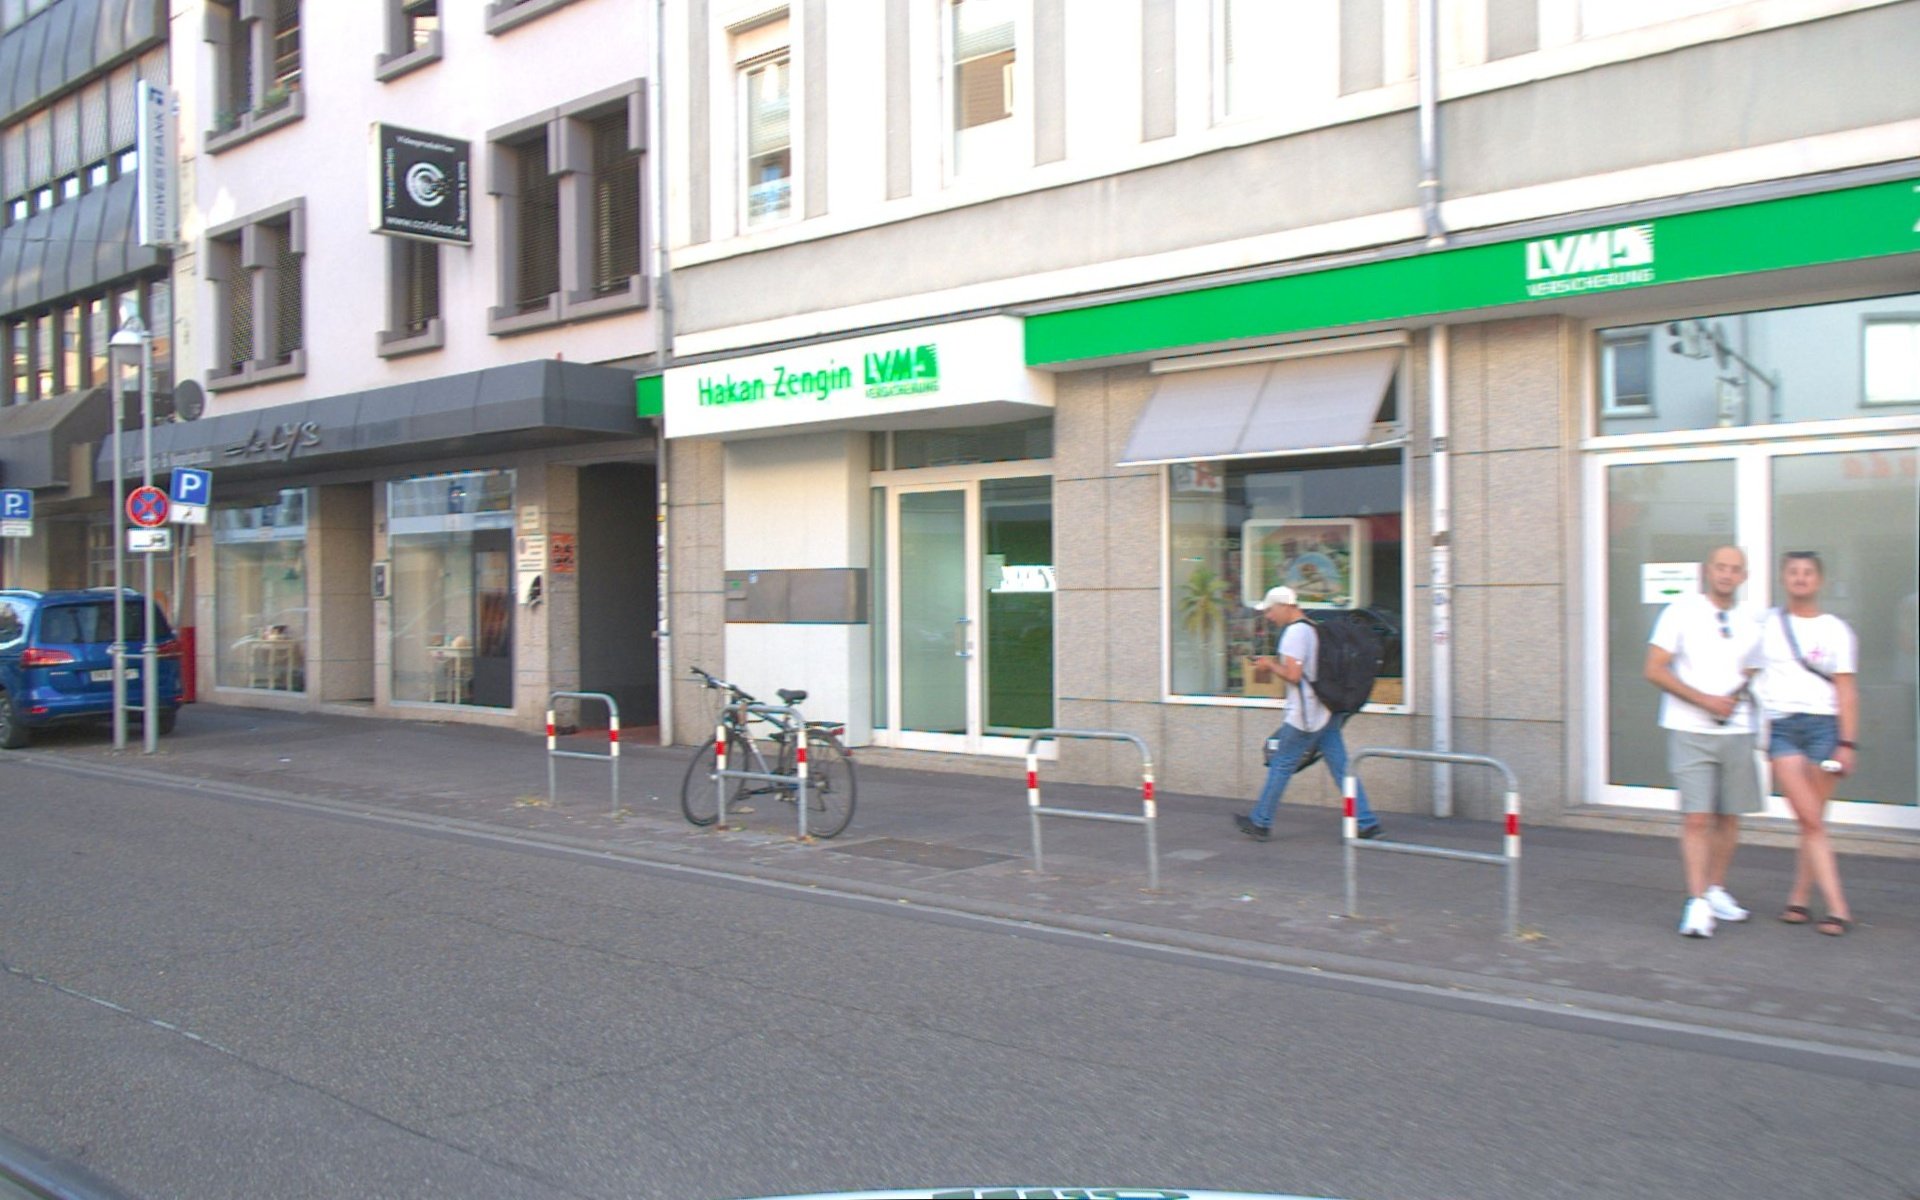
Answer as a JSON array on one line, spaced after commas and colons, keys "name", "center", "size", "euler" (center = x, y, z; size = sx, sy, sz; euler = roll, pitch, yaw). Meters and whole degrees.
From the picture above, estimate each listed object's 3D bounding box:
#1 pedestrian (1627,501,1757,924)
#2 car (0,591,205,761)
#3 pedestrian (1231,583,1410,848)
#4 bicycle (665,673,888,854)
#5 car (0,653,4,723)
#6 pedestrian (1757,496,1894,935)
[{"name": "pedestrian", "center": [3.568, 0.523, 8.047], "size": [0.485, 1.962, 0.574], "euler": [-1, 0, 31]}, {"name": "car", "center": [-11.109, 0.834, 20.060], "size": [4.483, 1.746, 1.910], "euler": [-1, 2, 43]}, {"name": "pedestrian", "center": [2.270, 0.691, 10.423], "size": [0.855, 1.575, 0.695], "euler": [-1, 0, 44]}, {"name": "bicycle", "center": [-1.274, 1.077, 11.283], "size": [1.616, 1.108, 0.477], "euler": [-2, 1, 39]}, {"name": "car", "center": [-15.496, 1.033, 23.891], "size": [3.802, 1.511, 1.762], "euler": [-1, 2, 42]}, {"name": "pedestrian", "center": [4.088, 0.517, 7.800], "size": [0.518, 1.962, 0.639], "euler": [-1, 0, 30]}]
